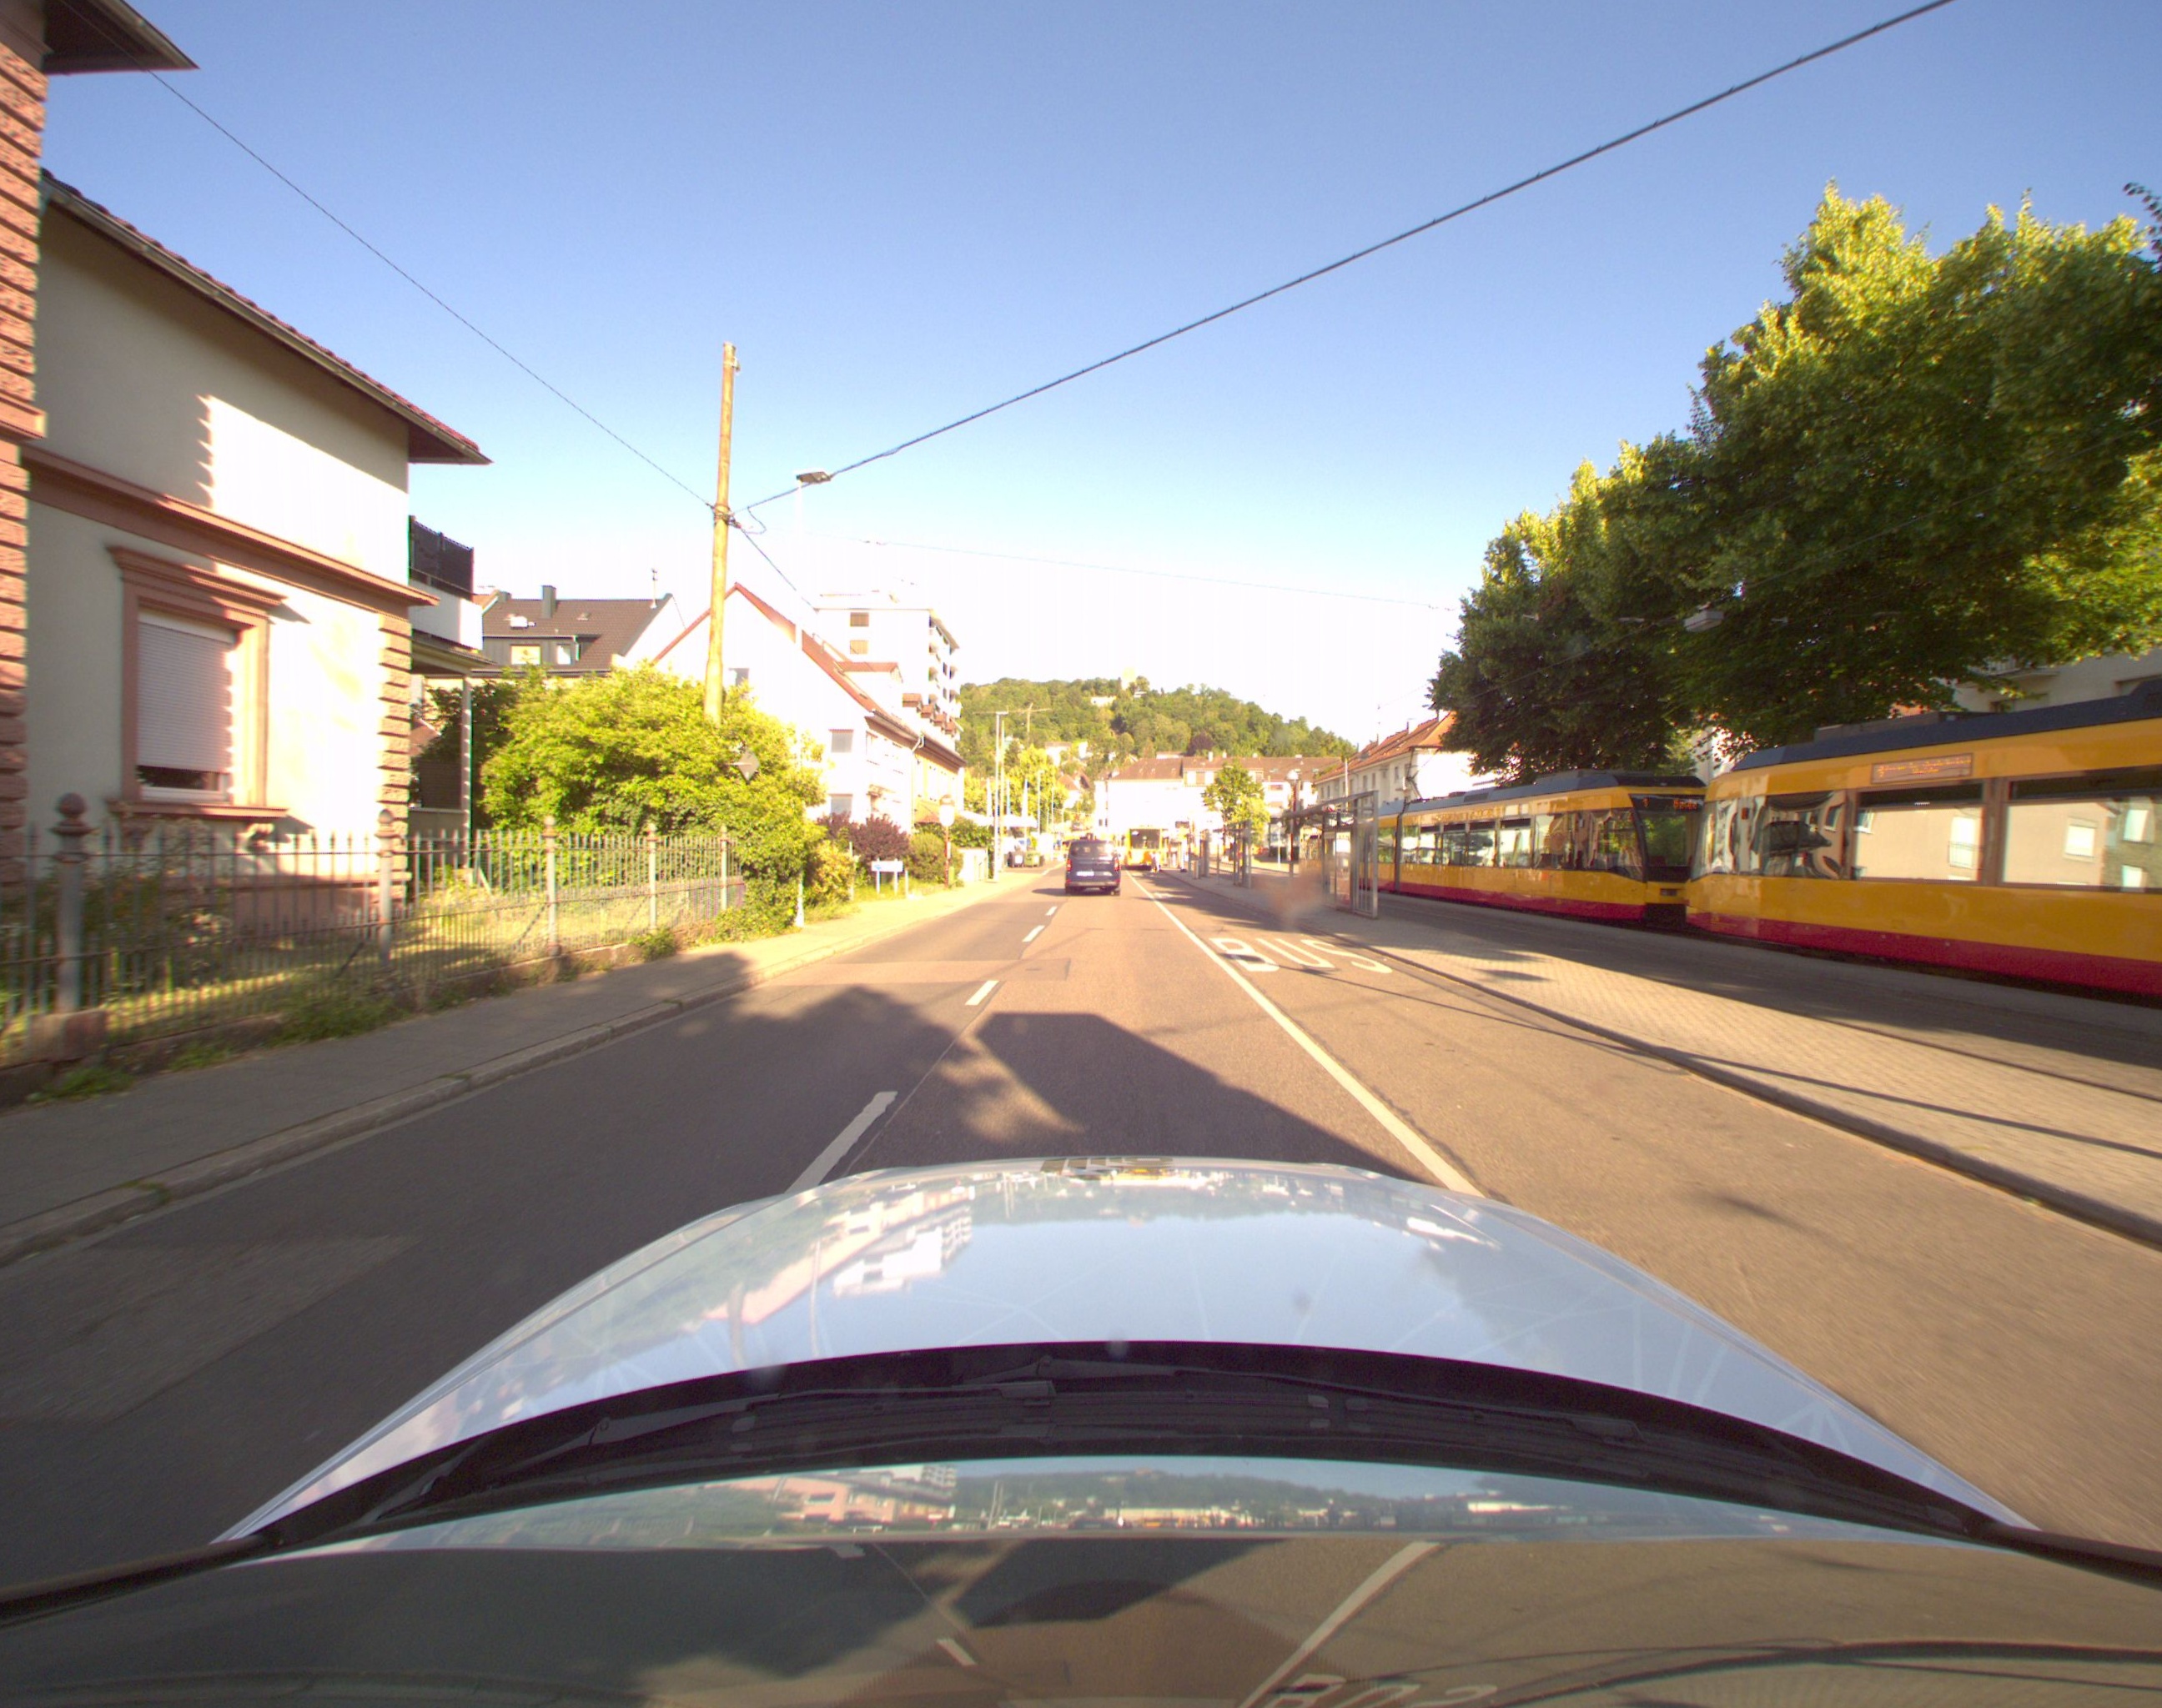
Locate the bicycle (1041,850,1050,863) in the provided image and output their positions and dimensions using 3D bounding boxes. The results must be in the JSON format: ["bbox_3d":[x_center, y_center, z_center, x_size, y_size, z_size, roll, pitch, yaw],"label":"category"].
[{"bbox_3d":[-3.336,0.215,76.784,0.722,1.178,1.776,0,1,-7],"label":"bicycle"}]

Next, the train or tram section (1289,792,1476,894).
[{"bbox_3d":[12.678,-0.345,36.740,2.946,3.534,15.975,-1,0,2],"label":"train or tram section"}]

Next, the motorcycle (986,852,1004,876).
[{"bbox_3d":[-4.848,0.542,45.986,0.837,1.282,2.231,1,0,-1],"label":"motorcycle"}]

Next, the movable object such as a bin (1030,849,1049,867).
[{"bbox_3d":[-3.560,0.331,70.201,1.045,1.482,1.321,2,4,30],"label":"movable object such as a bin"}]

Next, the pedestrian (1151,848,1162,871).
[{"bbox_3d":[5.409,0.370,58.244,0.548,1.613,0.544,0,0,-36],"label":"pedestrian"}]

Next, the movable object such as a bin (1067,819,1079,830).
[{"bbox_3d":[-1.919,-7.267,202.312,2.175,2.690,4.015,0,1,13],"label":"movable object such as a bin"}]

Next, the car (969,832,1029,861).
[{"bbox_3d":[-7.423,-0.673,73.955,5.072,2.469,2.094,0,1,-20],"label":"car"}]

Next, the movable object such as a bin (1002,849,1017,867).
[{"bbox_3d":[-6.047,0.310,68.874,1.215,1.482,0.703,0,4,-3],"label":"movable object such as a bin"}]

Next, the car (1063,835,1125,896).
[{"bbox_3d":[0.514,0.376,30.393,2.054,2.013,5.002,-2,0,2],"label":"car"}]

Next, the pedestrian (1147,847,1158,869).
[{"bbox_3d":[5.144,0.290,58.618,0.548,1.613,0.629,0,0,-36],"label":"pedestrian"}]

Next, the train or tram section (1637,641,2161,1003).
[{"bbox_3d":[11.685,-0.307,7.128,2.947,3.421,15.942,-1,1,1],"label":"train or tram section"}]

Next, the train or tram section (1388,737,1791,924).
[{"bbox_3d":[12.230,-0.417,22.280,2.946,3.534,13.468,-1,0,2],"label":"train or tram section"}]

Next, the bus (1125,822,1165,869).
[{"bbox_3d":[5.002,-0.727,65.762,2.678,3.416,12.025,0,1,2],"label":"bus"}]

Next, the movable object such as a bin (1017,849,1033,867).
[{"bbox_3d":[-4.788,0.341,69.319,1.225,1.482,0.698,-2,4,-27],"label":"movable object such as a bin"}]

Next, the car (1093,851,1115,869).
[{"bbox_3d":[1.922,0.486,68.068,1.788,1.409,4.001,1,0,1],"label":"car"}]
